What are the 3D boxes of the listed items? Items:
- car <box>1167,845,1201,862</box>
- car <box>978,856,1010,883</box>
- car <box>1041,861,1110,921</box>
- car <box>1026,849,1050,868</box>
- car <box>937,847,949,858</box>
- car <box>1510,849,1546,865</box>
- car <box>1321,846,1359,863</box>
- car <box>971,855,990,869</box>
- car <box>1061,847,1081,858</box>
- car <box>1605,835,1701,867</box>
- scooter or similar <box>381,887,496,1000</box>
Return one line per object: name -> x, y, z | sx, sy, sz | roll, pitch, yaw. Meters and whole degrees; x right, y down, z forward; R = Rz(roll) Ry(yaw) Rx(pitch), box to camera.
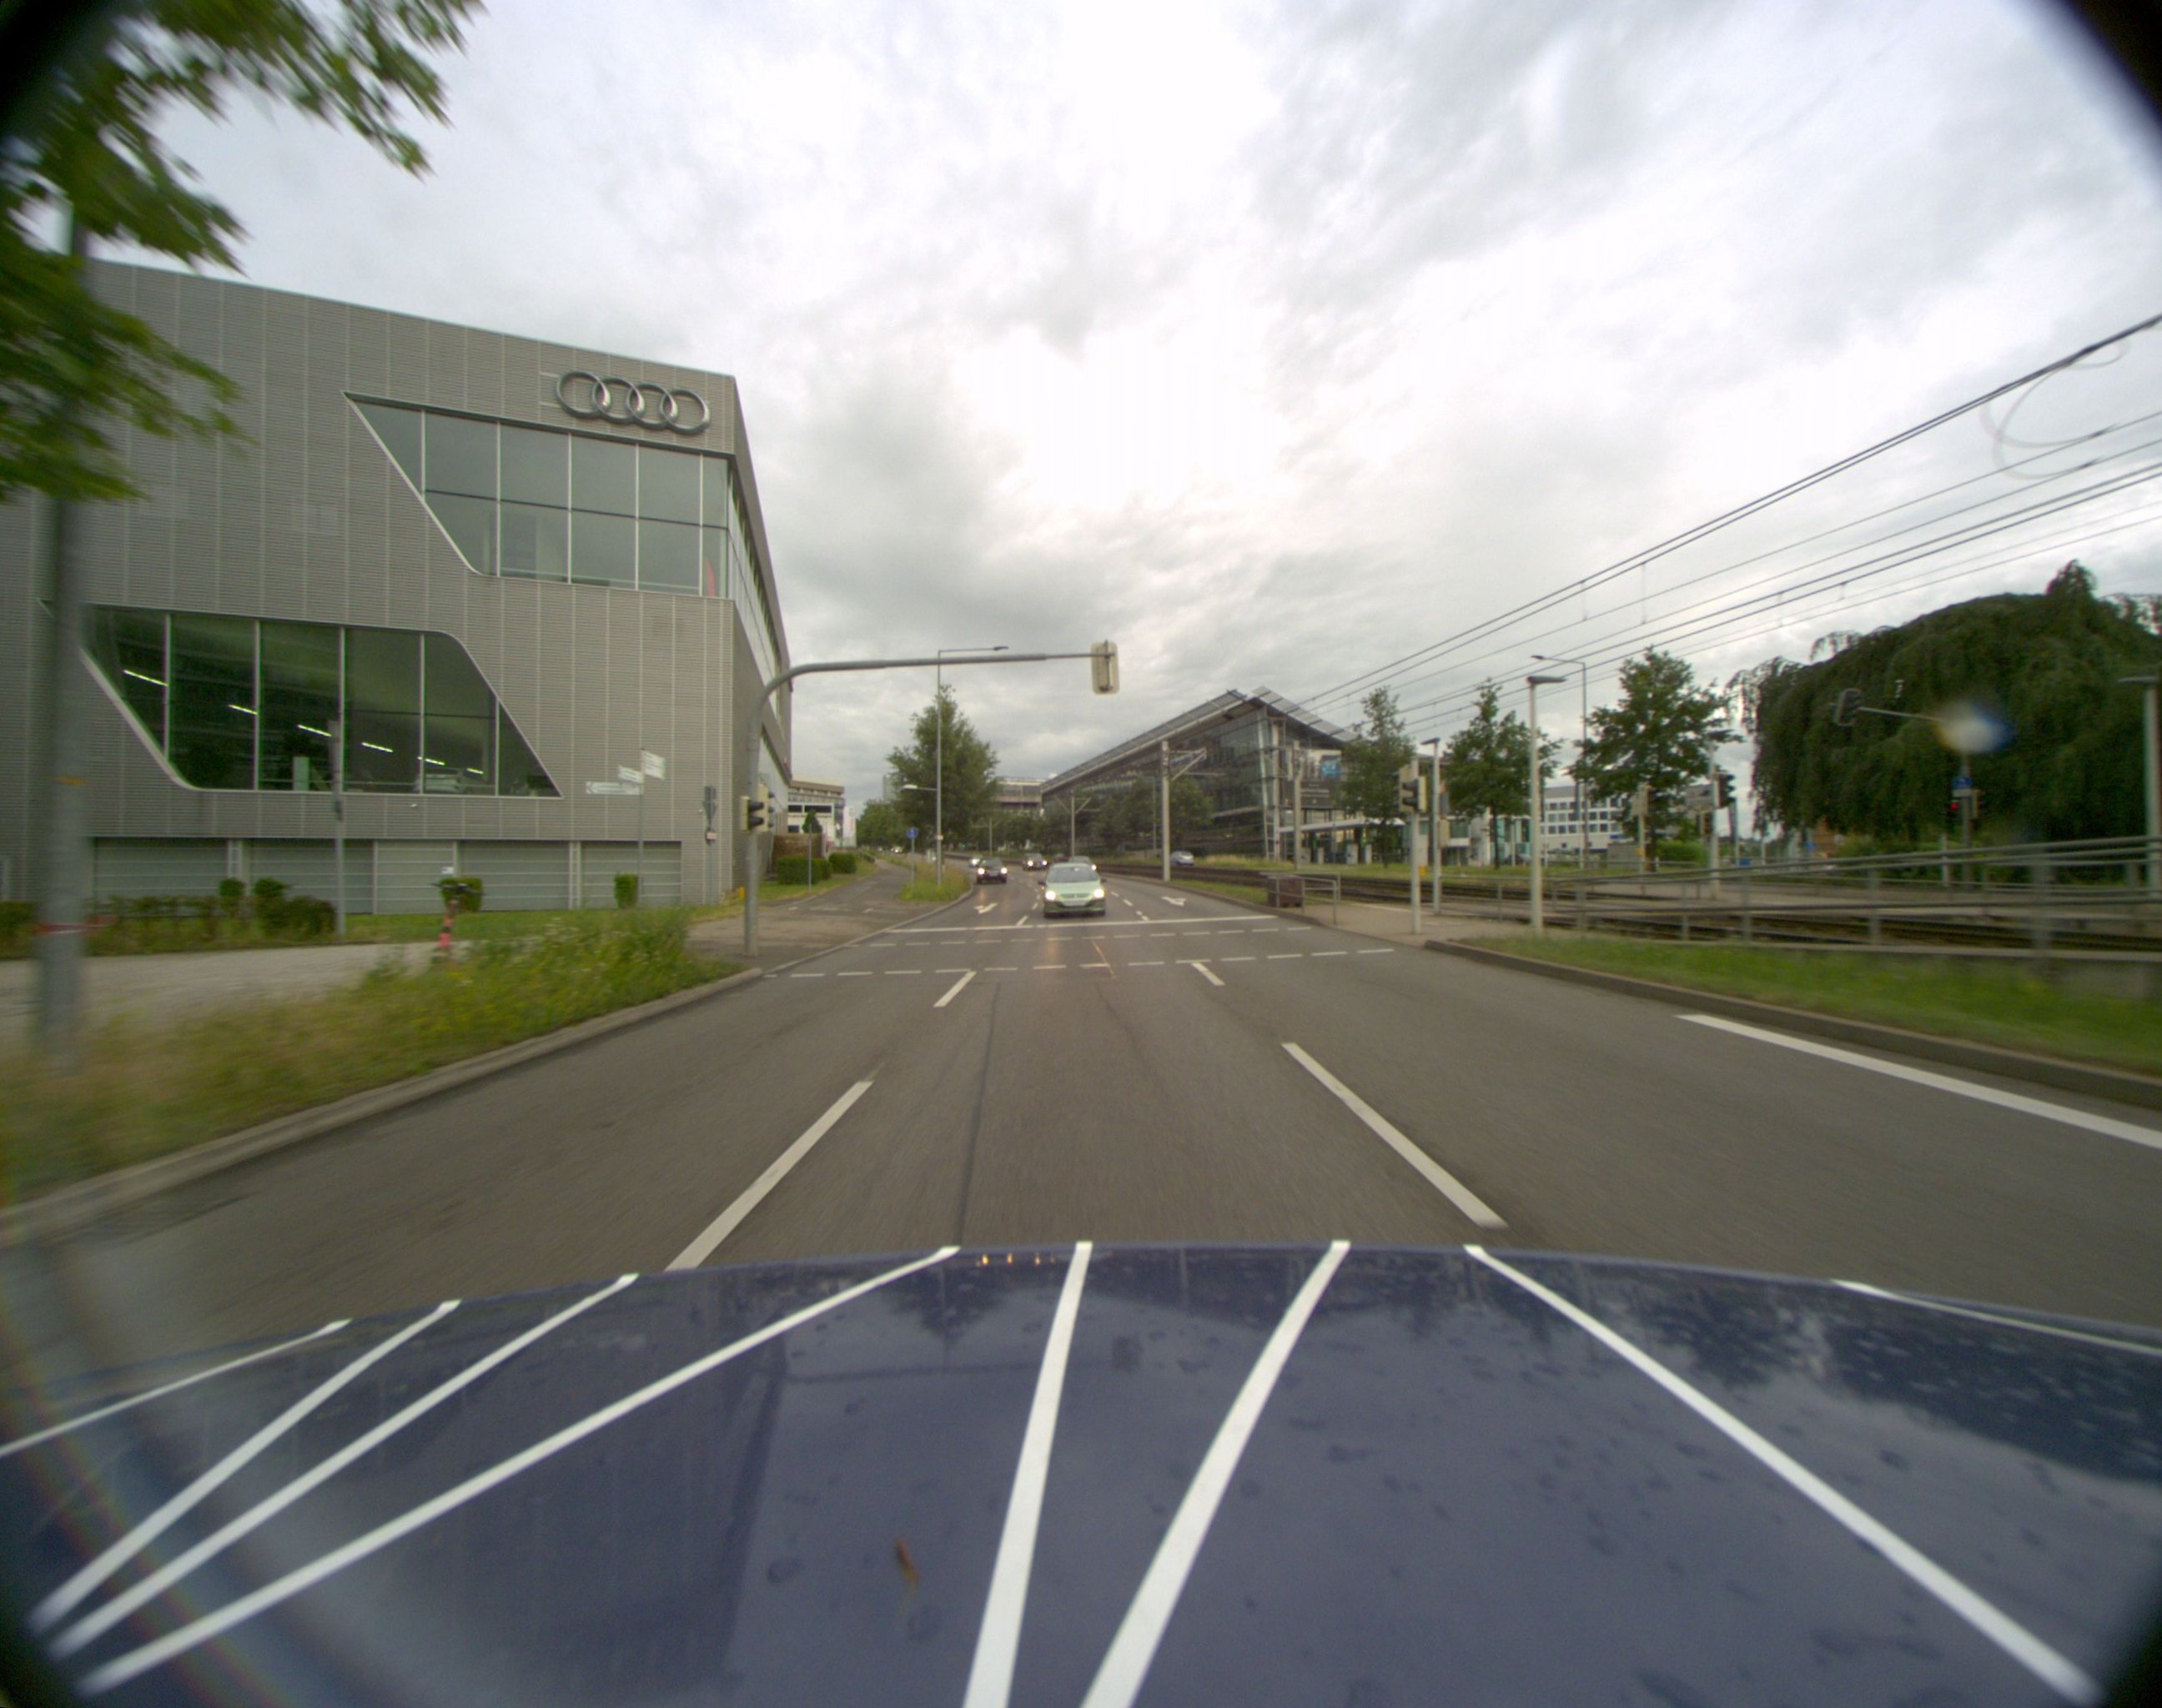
car -> 11.108, -0.065, 82.385 | 2.002, 1.670, 3.993 | -2, 1, -19
car -> -5.529, 0.952, 48.776 | 1.829, 1.599, 4.112 | -2, 0, -4
car -> -0.187, 1.008, 22.442 | 1.829, 1.499, 4.113 | -2, 1, -1
car -> -4.227, 0.454, 74.123 | 1.862, 1.799, 4.110 | -2, 0, -9
car -> -28.678, -0.269, 157.460 | 2.001, 2.003, 3.993 | -2, 3, -16
car -> 52.523, 0.361, 89.430 | 1.782, 1.701, 3.745 | -2, 3, -6
car -> 31.778, 0.043, 93.344 | 1.898, 1.840, 3.988 | -4, 4, -44
car -> -12.415, 0.942, 93.988 | 1.863, 1.673, 4.108 | 0, 0, -15
car -> -1.571, -0.246, 114.755 | 1.890, 1.512, 4.397 | 2, 0, -15
car -> 32.116, -0.225, 42.809 | 2.000, 1.641, 3.994 | -2, 3, -12
scooter or similar -> -8.043, 1.081, 9.574 | 0.459, 1.256, 1.336 | 1, 1, -8
